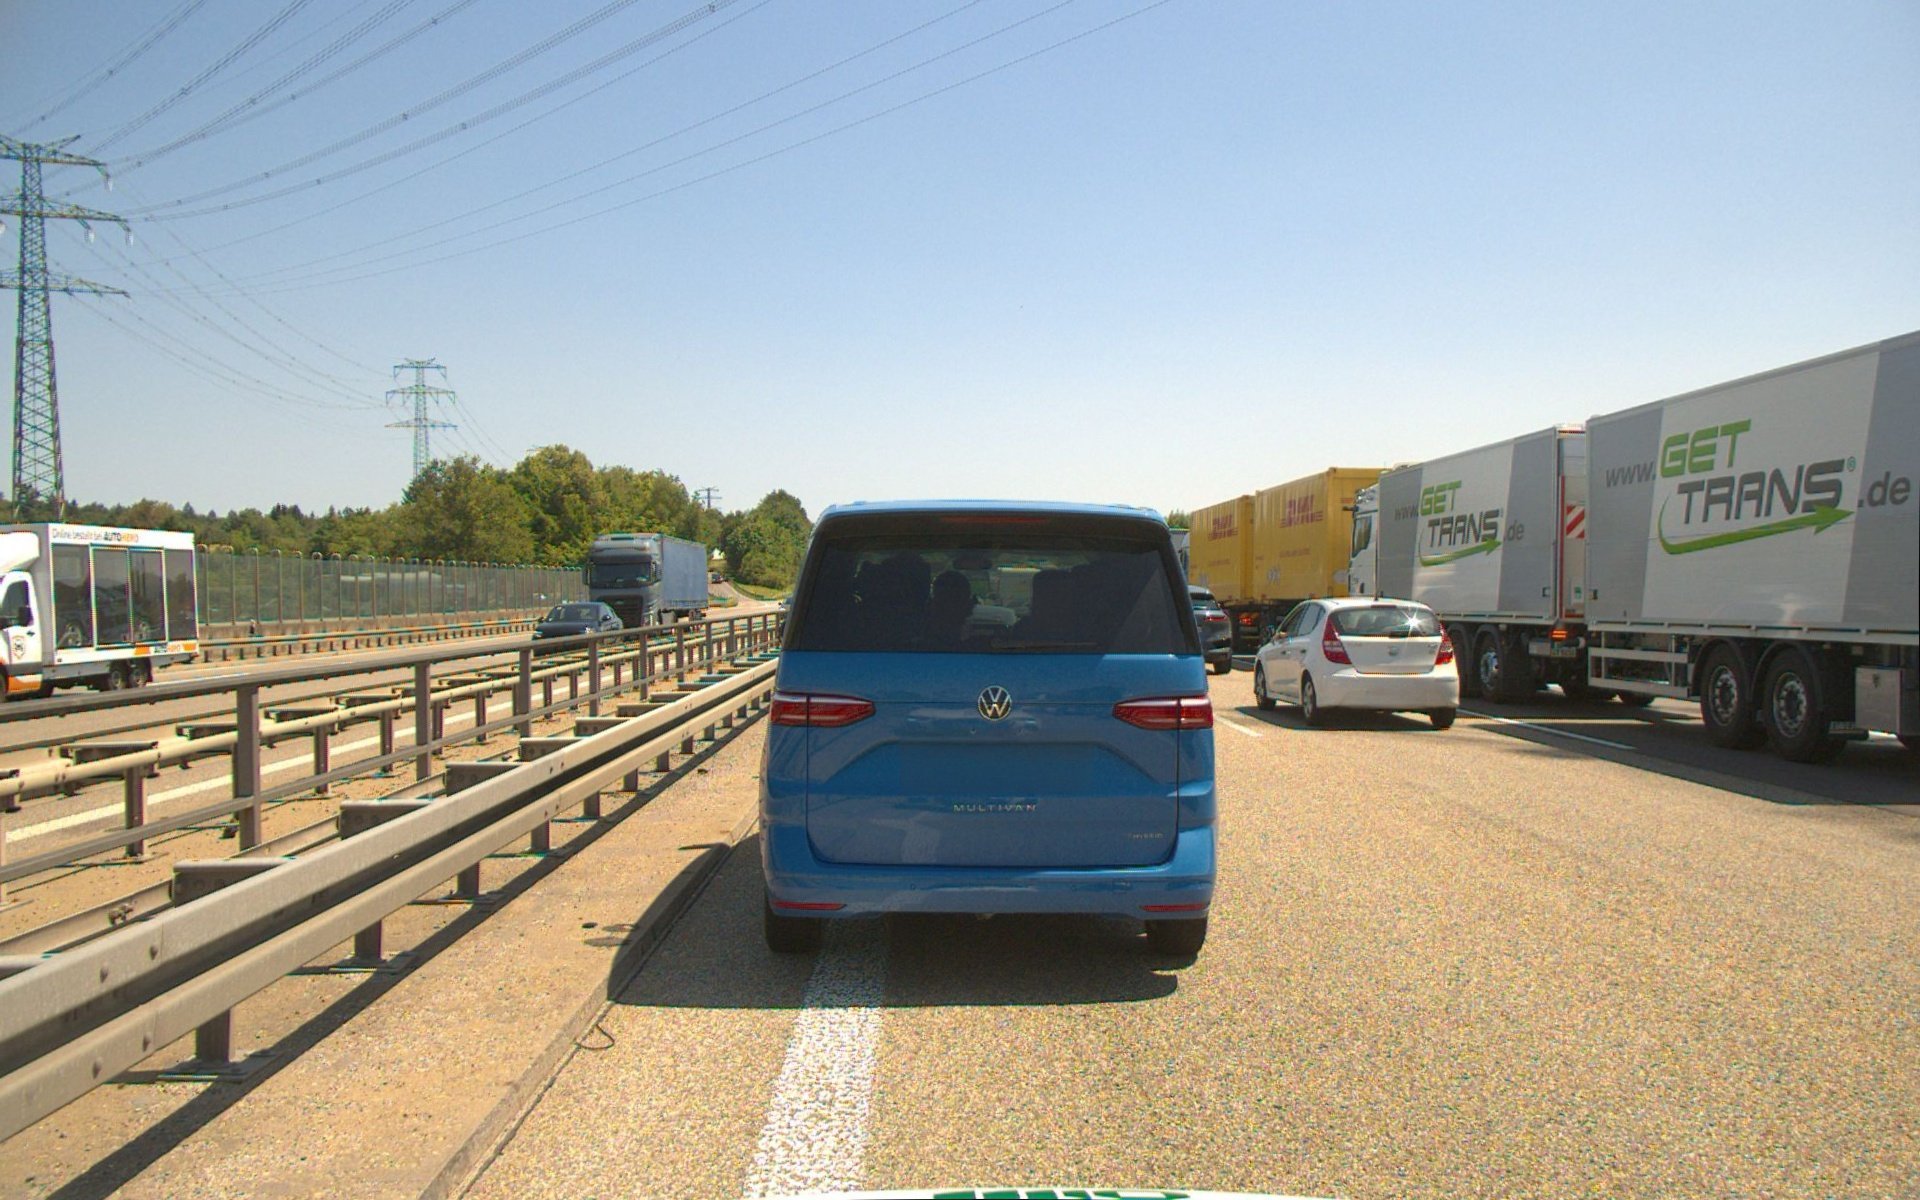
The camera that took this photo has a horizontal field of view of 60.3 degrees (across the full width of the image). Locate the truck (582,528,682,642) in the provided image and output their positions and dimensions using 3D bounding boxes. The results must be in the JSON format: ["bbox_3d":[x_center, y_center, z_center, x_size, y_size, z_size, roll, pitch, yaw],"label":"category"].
[{"bbox_3d":[-12.677,-0.548,64.354,2.697,4.188,6.263,-1,0,-1],"label":"truck"}]

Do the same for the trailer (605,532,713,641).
[{"bbox_3d":[-12.828,-0.502,71.685,2.650,4.238,12.046,-2,0,-1],"label":"trailer"}]

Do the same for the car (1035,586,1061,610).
[{"bbox_3d":[6.707,-0.154,126.513,1.760,1.782,3.942,1,0,-1],"label":"car"}]

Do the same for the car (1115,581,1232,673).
[{"bbox_3d":[4.212,0.512,33.200,1.778,1.708,3.931,1,0,-1],"label":"car"}]

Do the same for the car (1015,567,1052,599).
[{"bbox_3d":[4.169,-0.954,94.185,1.880,1.736,3.999,1,0,-1],"label":"car"}]

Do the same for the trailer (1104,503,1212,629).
[{"bbox_3d":[7.946,-1.266,67.817,2.964,4.692,10.923,1,0,0],"label":"trailer"}]

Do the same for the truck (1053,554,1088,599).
[{"bbox_3d":[6.599,-1.392,98.922,1.706,2.593,4.209,1,0,-1],"label":"truck"}]

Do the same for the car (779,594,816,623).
[{"bbox_3d":[-9.416,0.491,95.935,1.844,1.579,4.188,1,0,-2],"label":"car"}]

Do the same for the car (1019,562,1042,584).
[{"bbox_3d":[6.141,-2.341,144.872,1.760,1.782,3.942,1,0,-1],"label":"car"}]

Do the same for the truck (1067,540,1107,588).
[{"bbox_3d":[6.889,-1.928,90.069,1.761,2.492,4.503,1,0,-1],"label":"truck"}]

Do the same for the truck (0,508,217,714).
[{"bbox_3d":[-16.381,0.254,29.393,2.511,3.244,8.292,-3,0,-1],"label":"truck"}]

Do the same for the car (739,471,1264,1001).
[{"bbox_3d":[0.130,0.511,8.037,1.891,1.906,3.999,1,0,-1],"label":"car"}]

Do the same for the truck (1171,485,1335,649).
[{"bbox_3d":[8.179,-0.826,47.567,2.645,4.159,9.936,1,0,-2],"label":"truck"}]

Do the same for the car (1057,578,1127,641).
[{"bbox_3d":[4.291,0.310,54.407,1.922,1.970,3.931,1,0,-1],"label":"car"}]

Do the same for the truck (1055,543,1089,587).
[{"bbox_3d":[7.047,-2.187,104.128,1.760,2.641,4.305,1,0,-1],"label":"truck"}]

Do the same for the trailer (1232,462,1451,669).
[{"bbox_3d":[8.501,-0.674,38.079,2.628,4.159,8.976,1,0,-2],"label":"trailer"}]

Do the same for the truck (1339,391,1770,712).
[{"bbox_3d":[8.733,-0.581,26.203,2.794,4.003,10.607,1,0,-1],"label":"truck"}]

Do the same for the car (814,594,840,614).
[{"bbox_3d":[-10.773,0.322,134.159,1.844,1.579,4.188,1,0,-2],"label":"car"}]

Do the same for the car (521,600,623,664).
[{"bbox_3d":[-9.986,0.810,42.821,1.761,1.524,3.851,-2,0,-1],"label":"car"}]

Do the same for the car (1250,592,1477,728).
[{"bbox_3d":[4.882,0.685,20.542,1.778,1.496,3.931,1,0,-1],"label":"car"}]

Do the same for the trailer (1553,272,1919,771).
[{"bbox_3d":[8.963,-0.587,16.713,2.840,3.959,8.212,1,0,-1],"label":"trailer"}]
